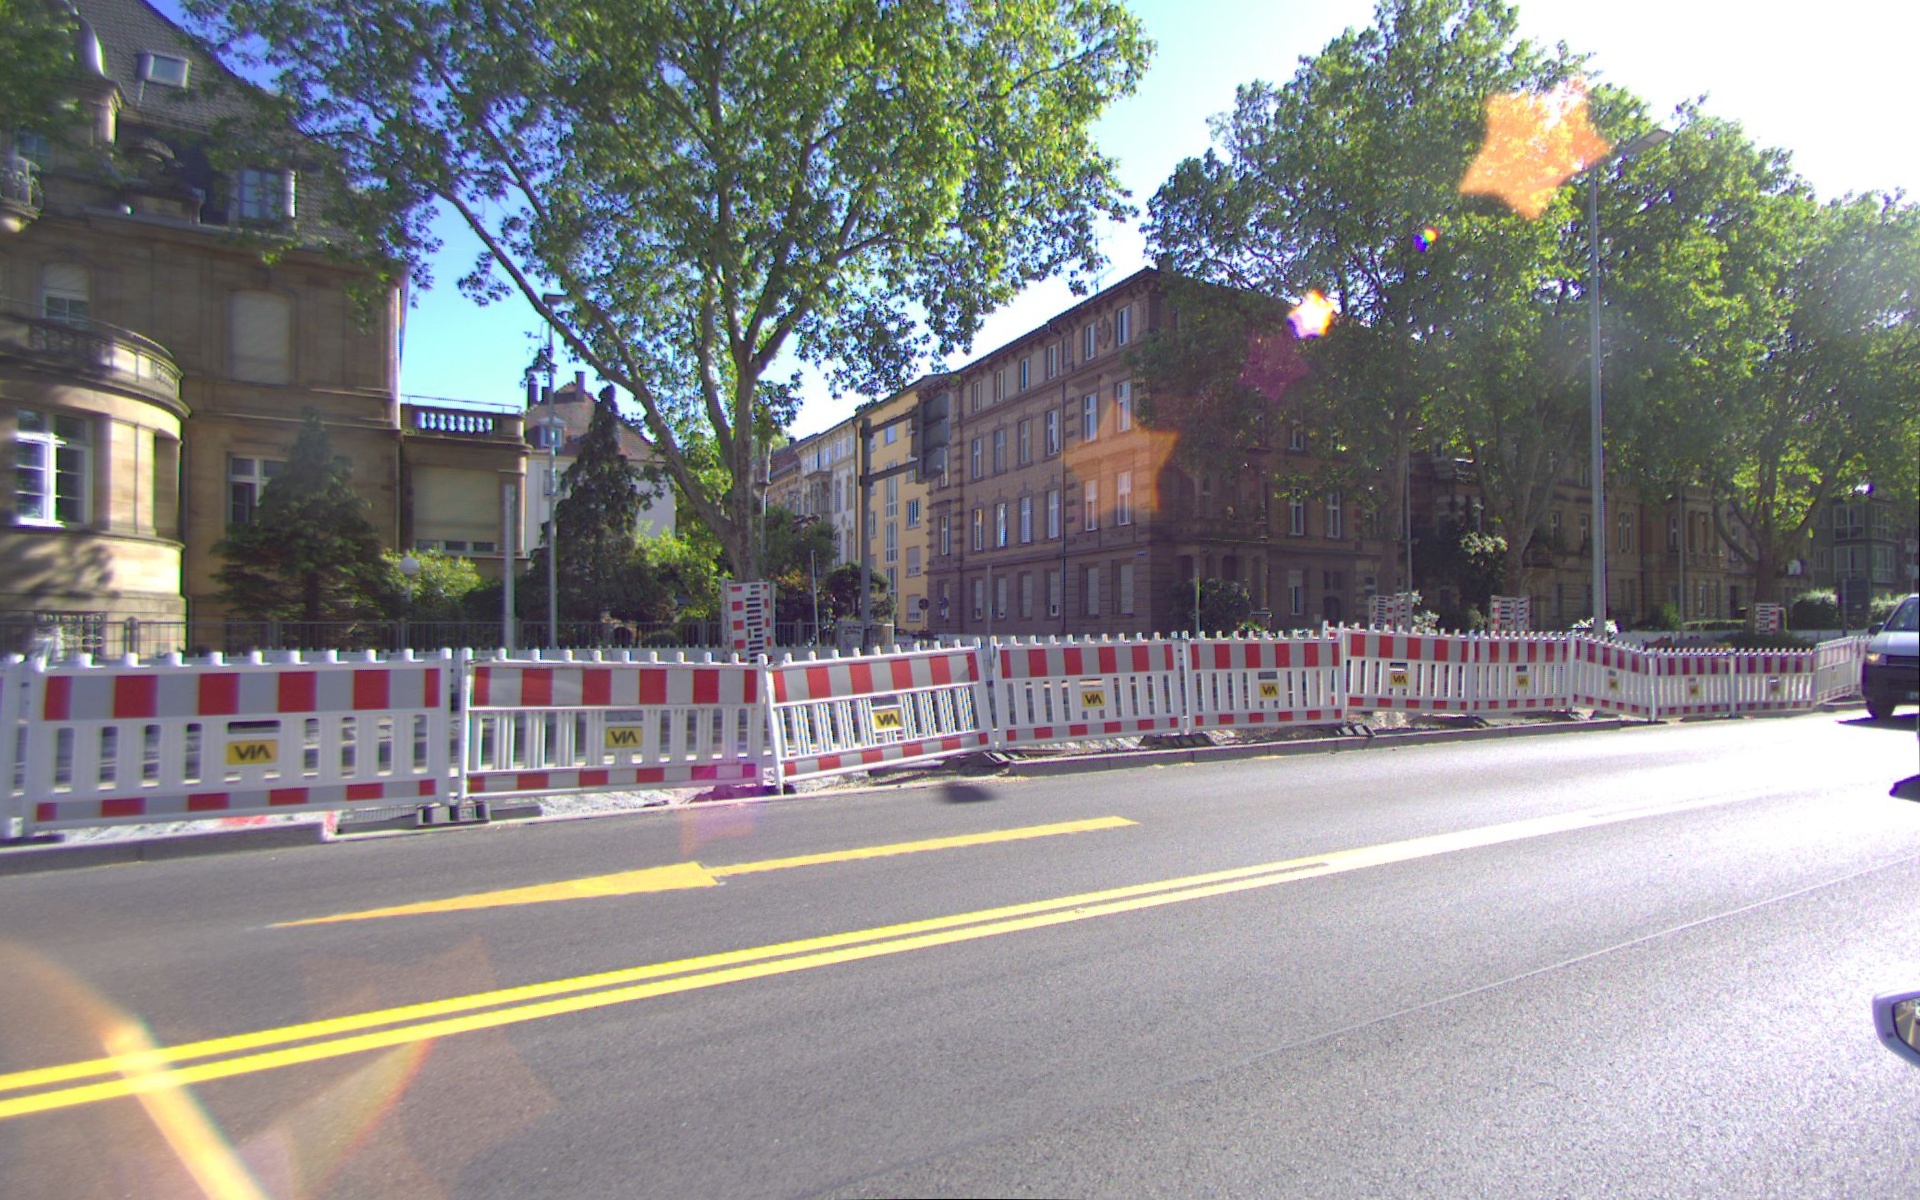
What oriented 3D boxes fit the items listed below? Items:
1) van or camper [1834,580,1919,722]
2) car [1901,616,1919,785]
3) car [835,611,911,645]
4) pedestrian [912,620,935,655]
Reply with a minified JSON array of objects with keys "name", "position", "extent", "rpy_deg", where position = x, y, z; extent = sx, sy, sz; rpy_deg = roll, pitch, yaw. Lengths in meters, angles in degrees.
[{"name":"van or camper","position":[16.053,0.775,15.767],"extent":[5.266,2.040,1.984],"rpy_deg":[1,0,-31]},{"name":"car","position":[10.826,0.911,9.377],"extent":[4.424,1.502,1.829],"rpy_deg":[1,-1,-31]},{"name":"car","position":[-4.640,1.483,53.527],"extent":[3.755,1.759,1.611],"rpy_deg":[1,-2,-28]},{"name":"pedestrian","position":[-1.789,1.837,48.836],"extent":[0.814,1.682,0.758],"rpy_deg":[-1,-2,36]}]
